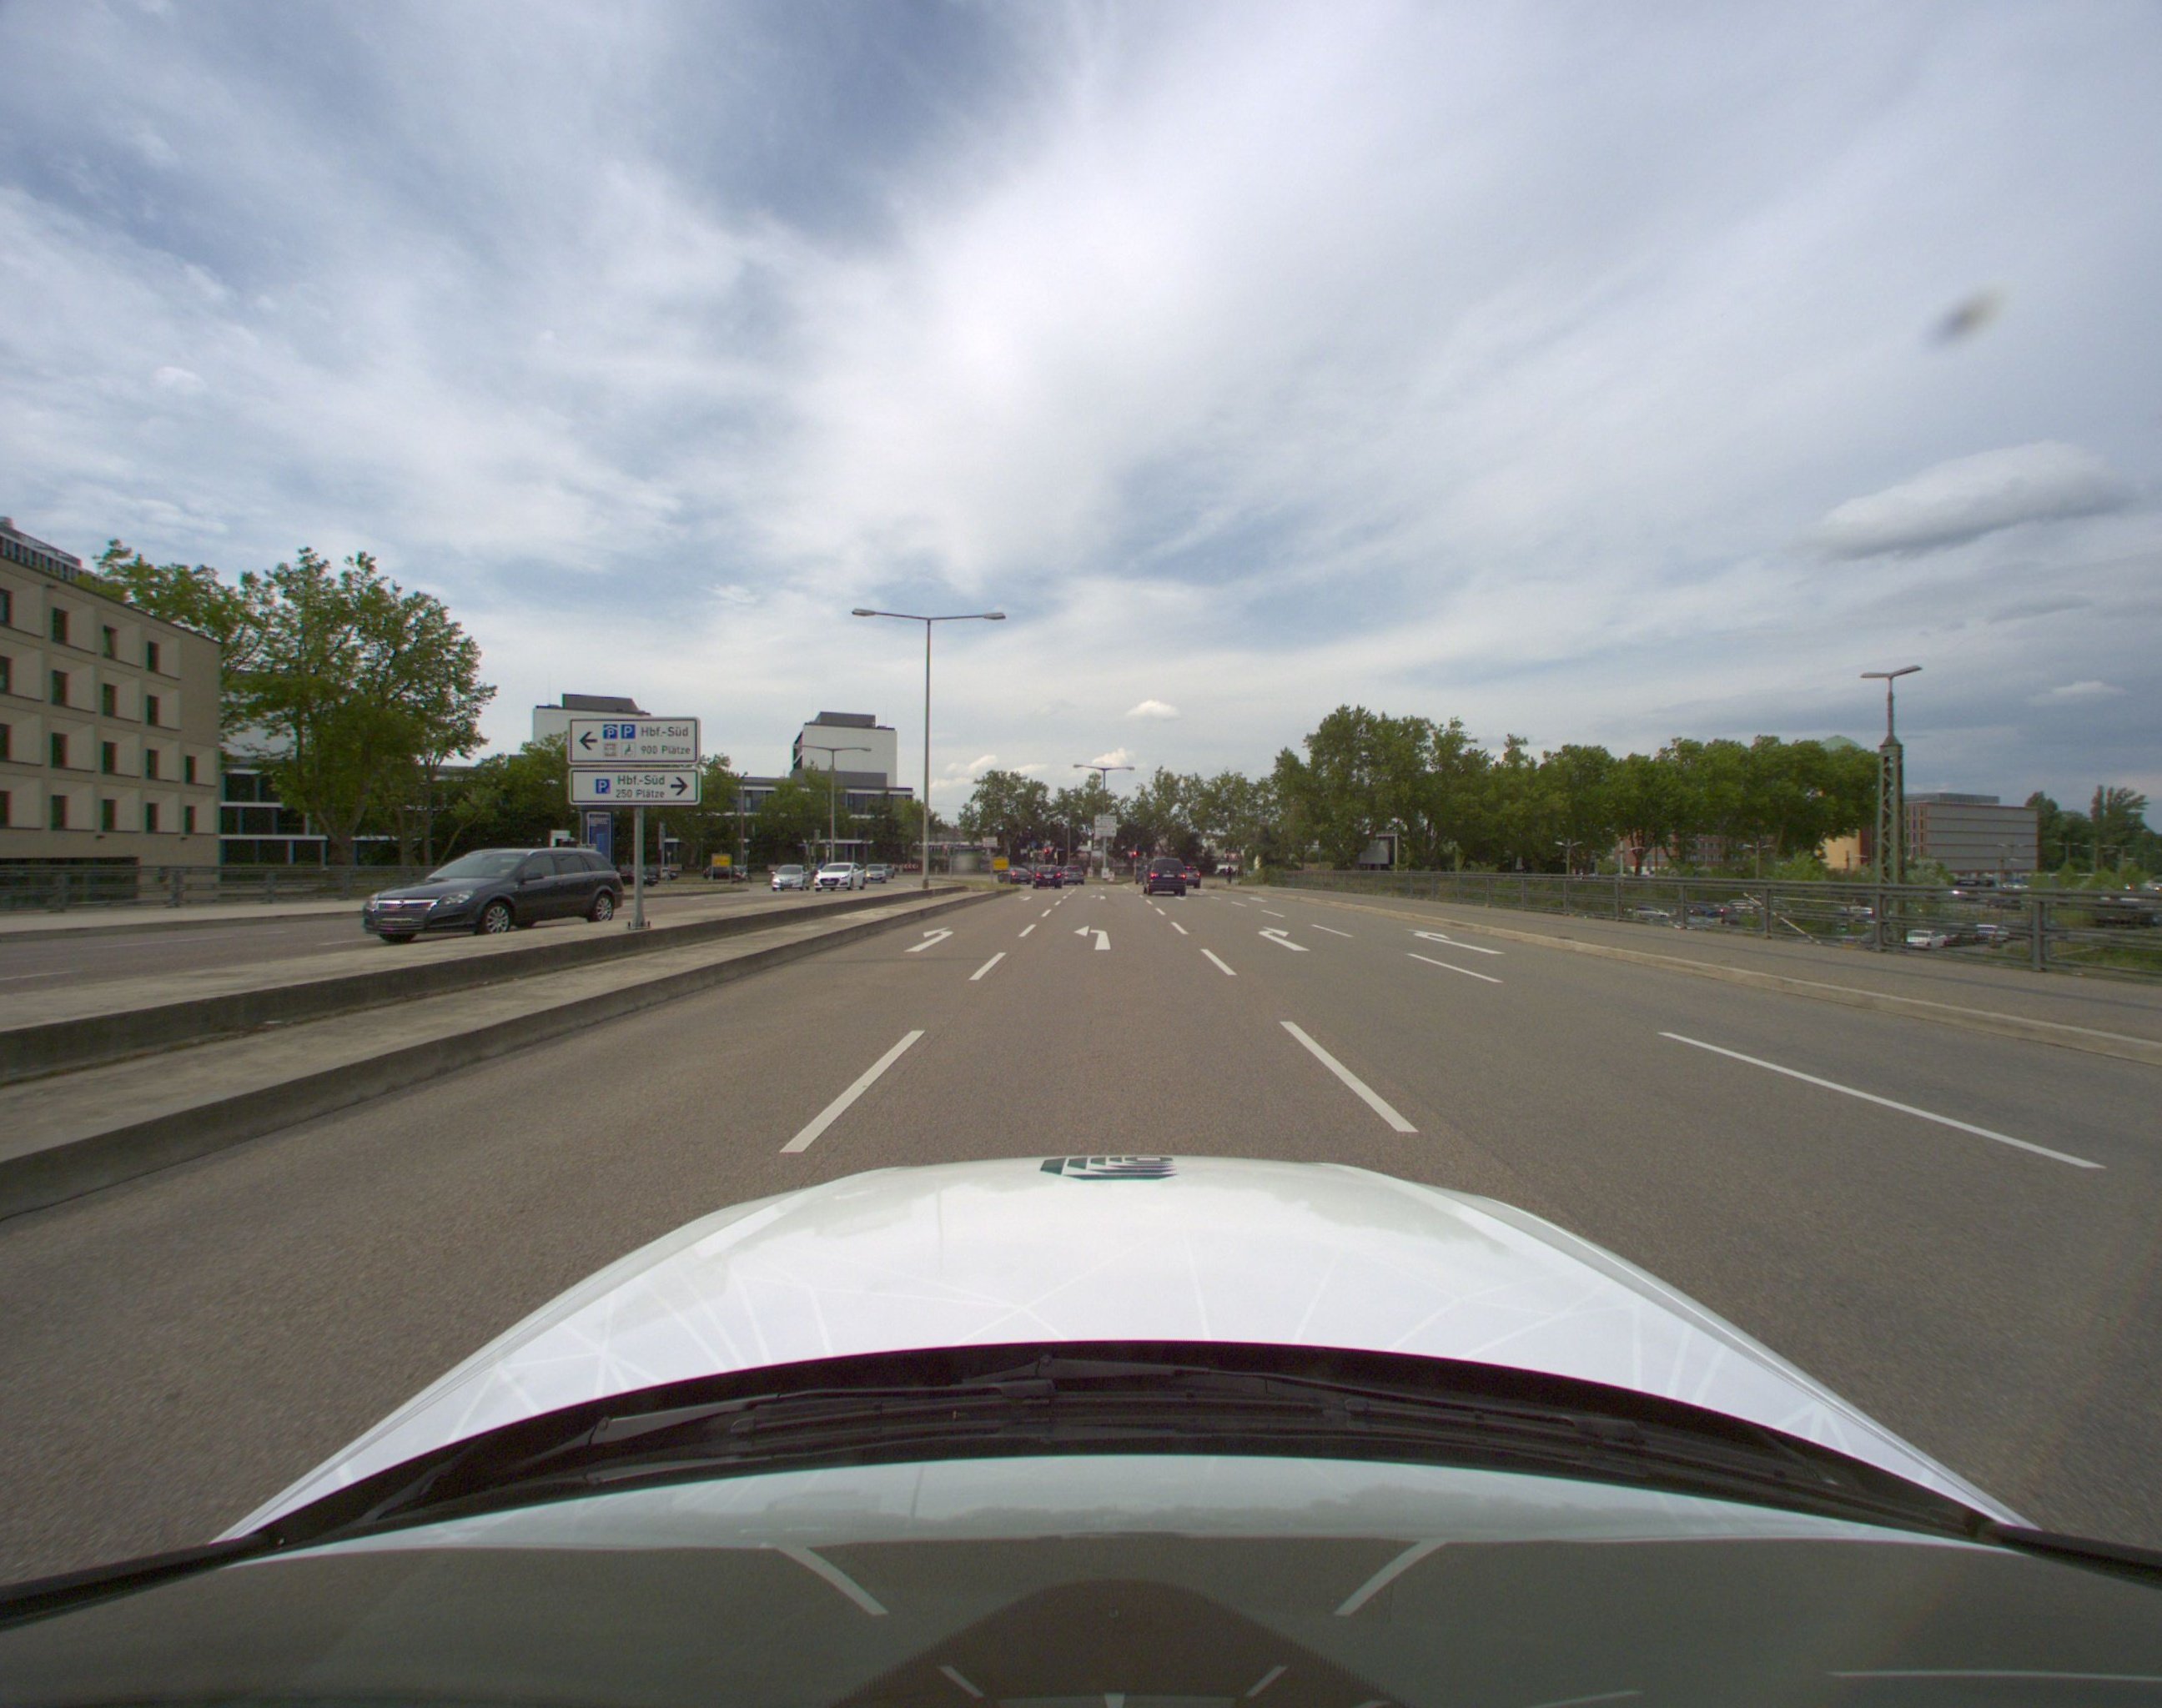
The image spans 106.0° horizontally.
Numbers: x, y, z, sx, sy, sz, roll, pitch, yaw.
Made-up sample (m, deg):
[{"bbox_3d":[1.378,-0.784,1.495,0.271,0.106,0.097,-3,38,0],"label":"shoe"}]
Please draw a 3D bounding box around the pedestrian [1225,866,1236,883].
[{"bbox_3d":[15.091,2.078,82.033,1.040,1.710,0.856,1,-1,12],"label":"pedestrian"}]

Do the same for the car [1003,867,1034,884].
[{"bbox_3d":[-5.312,1.779,68.891,1.821,1.414,4.753,1,-1,-14],"label":"car"}]

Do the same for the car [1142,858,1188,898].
[{"bbox_3d":[3.904,1.102,38.326,1.744,1.725,4.137,2,-1,1],"label":"car"}]

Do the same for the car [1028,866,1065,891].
[{"bbox_3d":[-2.357,1.633,54.792,1.759,1.575,4.018,1,0,-13],"label":"car"}]

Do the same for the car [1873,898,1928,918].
[{"bbox_3d":[91.128,6.003,90.604,1.767,2.014,3.964,0,0,-28],"label":"car"}]

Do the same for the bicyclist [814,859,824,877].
[{"bbox_3d":[-22.882,1.202,71.108,0.782,1.581,0.650,0,-1,-22],"label":"bicyclist"}]

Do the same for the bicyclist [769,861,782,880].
[{"bbox_3d":[-25.375,1.356,67.653,0.846,1.529,0.621,1,-1,-43],"label":"bicyclist"}]

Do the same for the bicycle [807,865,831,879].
[{"bbox_3d":[-22.877,1.598,71.120,1.909,1.210,0.638,0,-1,-23],"label":"bicycle"}]

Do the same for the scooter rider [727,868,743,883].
[{"bbox_3d":[-27.864,1.733,65.590,0.798,1.137,0.922,0,-1,37],"label":"scooter rider"}]

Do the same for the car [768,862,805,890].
[{"bbox_3d":[-17.163,1.250,47.484,1.925,1.526,4.847,-1,0,-20],"label":"car"}]

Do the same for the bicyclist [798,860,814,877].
[{"bbox_3d":[-23.442,1.231,69.383,0.639,1.436,1.124,0,0,40],"label":"bicyclist"}]

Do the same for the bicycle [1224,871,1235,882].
[{"bbox_3d":[13.562,2.035,74.283,0.803,0.952,2.244,-1,-1,14],"label":"bicycle"}]

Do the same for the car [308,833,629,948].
[{"bbox_3d":[-9.993,0.523,13.884,1.880,1.640,4.586,0,0,2],"label":"car"}]

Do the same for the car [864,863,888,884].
[{"bbox_3d":[-16.813,1.621,66.742,1.745,1.659,4.056,-1,-2,-16],"label":"car"}]

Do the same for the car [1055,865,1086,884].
[{"bbox_3d":[-0.878,1.675,66.620,1.743,1.546,4.063,0,-1,-13],"label":"car"}]

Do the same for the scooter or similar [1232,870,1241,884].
[{"bbox_3d":[13.291,1.951,69.791,0.396,1.183,1.278,0,-2,-6],"label":"scooter or similar"}]

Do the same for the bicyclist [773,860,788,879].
[{"bbox_3d":[-24.714,1.303,66.973,1.024,1.539,0.621,0,-1,-40],"label":"bicyclist"}]

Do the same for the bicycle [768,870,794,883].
[{"bbox_3d":[-24.700,1.851,66.988,1.917,1.013,0.621,0,-1,-40],"label":"bicycle"}]

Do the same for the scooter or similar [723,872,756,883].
[{"bbox_3d":[-27.602,1.880,65.934,0.798,0.849,2.401,0,0,37],"label":"scooter or similar"}]

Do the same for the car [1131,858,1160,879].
[{"bbox_3d":[5.185,1.160,65.610,1.687,1.585,4.149,2,-1,-4],"label":"car"}]

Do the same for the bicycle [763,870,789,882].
[{"bbox_3d":[-25.339,1.821,67.677,1.918,1.013,0.621,0,-1,-43],"label":"bicycle"}]

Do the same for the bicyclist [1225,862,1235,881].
[{"bbox_3d":[13.575,1.566,74.339,0.804,1.696,1.120,-1,-1,14],"label":"bicyclist"}]

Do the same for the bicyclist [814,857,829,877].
[{"bbox_3d":[-21.728,1.091,68.069,0.801,1.656,0.889,-1,-1,34],"label":"bicyclist"}]

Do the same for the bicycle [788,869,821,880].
[{"bbox_3d":[-23.511,1.724,69.269,0.696,0.890,2.608,0,0,41],"label":"bicycle"}]

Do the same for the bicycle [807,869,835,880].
[{"bbox_3d":[-21.708,1.712,68.079,0.801,0.952,2.249,-1,-1,34],"label":"bicycle"}]

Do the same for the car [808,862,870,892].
[{"bbox_3d":[-12.635,1.152,42.870,1.914,1.415,4.877,-1,0,-2],"label":"car"}]

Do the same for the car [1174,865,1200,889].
[{"bbox_3d":[7.729,1.659,59.874,1.742,1.643,4.144,2,-1,6],"label":"car"}]
